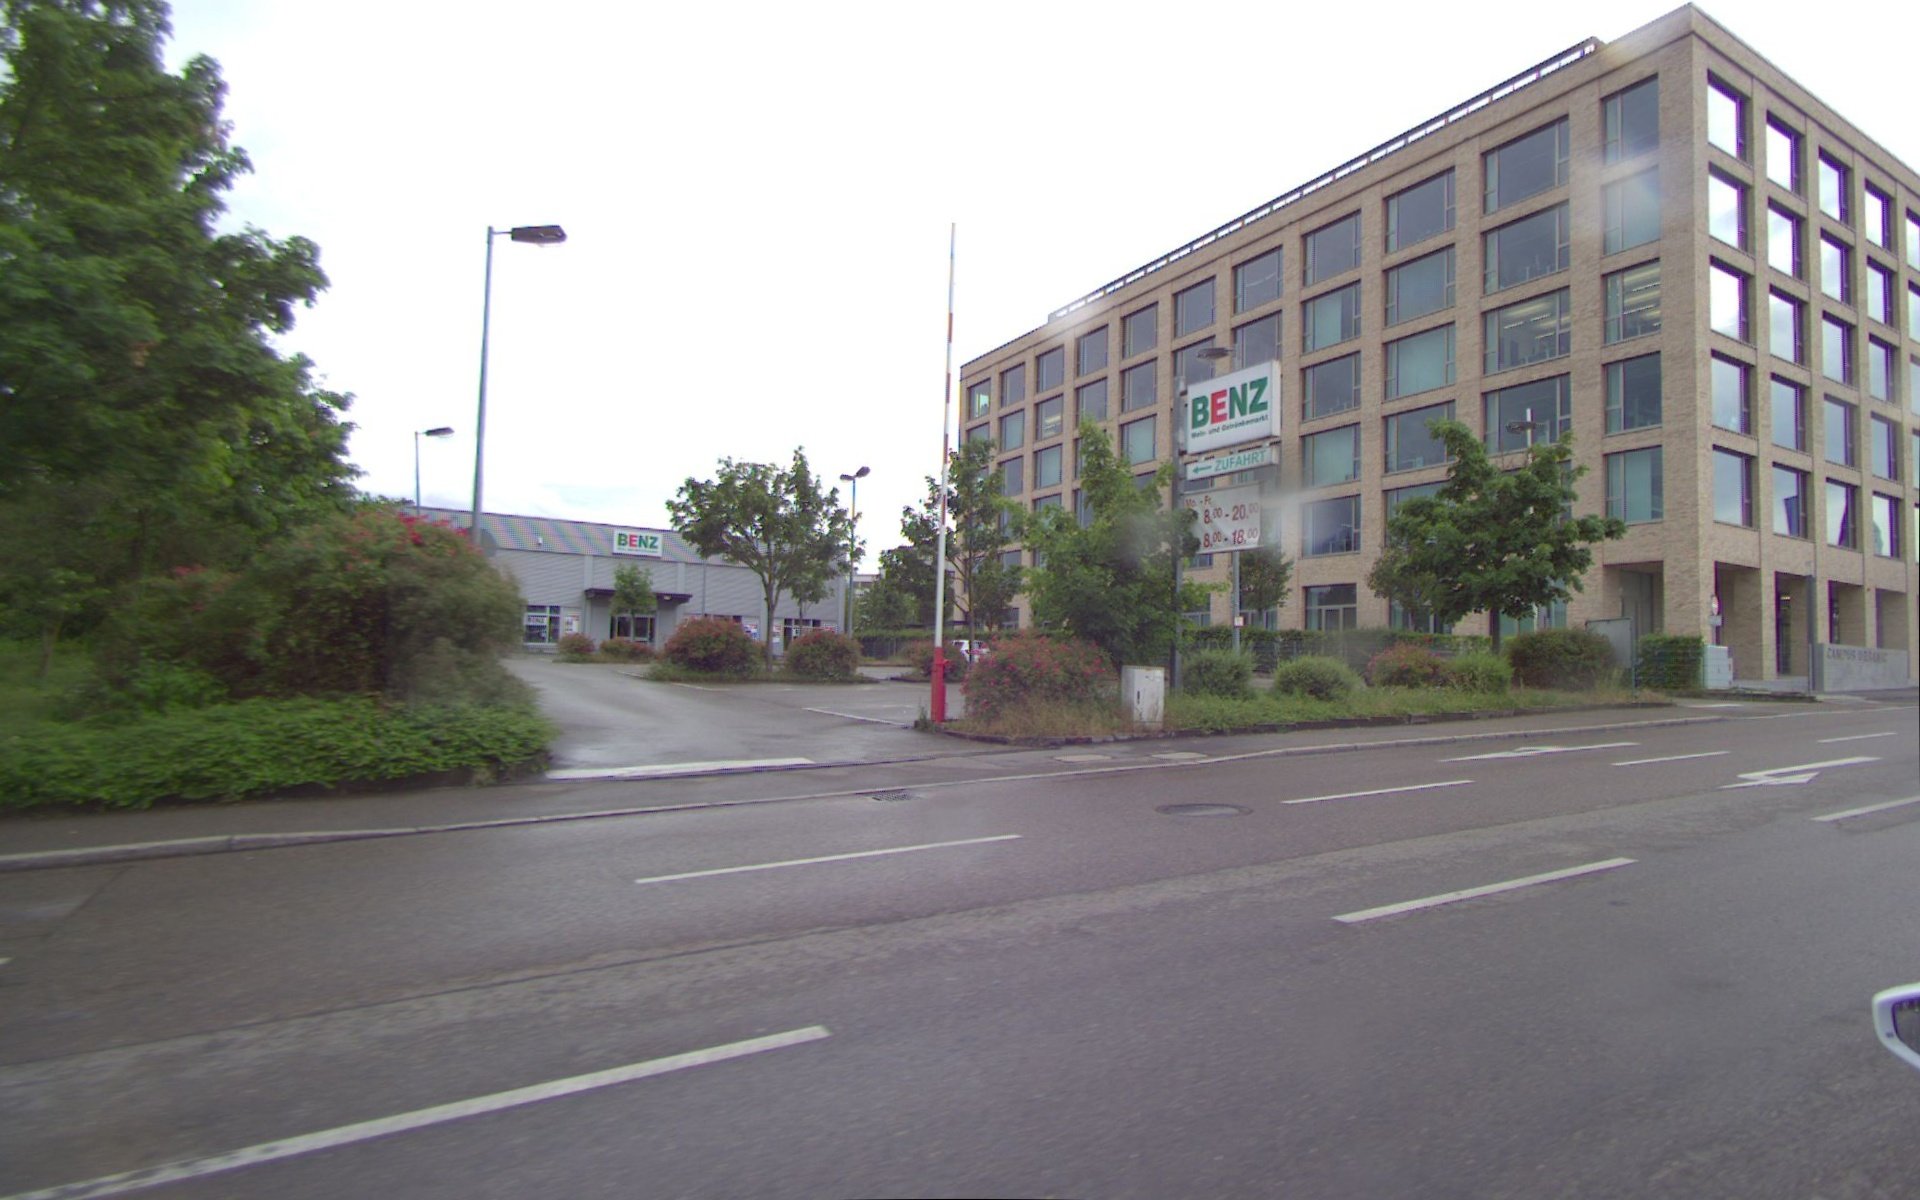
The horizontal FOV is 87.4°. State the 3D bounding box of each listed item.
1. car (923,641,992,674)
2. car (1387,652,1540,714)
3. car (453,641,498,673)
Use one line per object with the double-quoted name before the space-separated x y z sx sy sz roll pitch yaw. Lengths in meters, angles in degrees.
"car" -0.156 3.074 54.155 1.978 1.617 3.966 2 -2 -31
"car" 13.626 2.211 27.349 1.525 1.483 3.471 1 -2 -30
"car" -27.398 3.188 56.743 1.977 1.706 3.967 2 -2 -31
